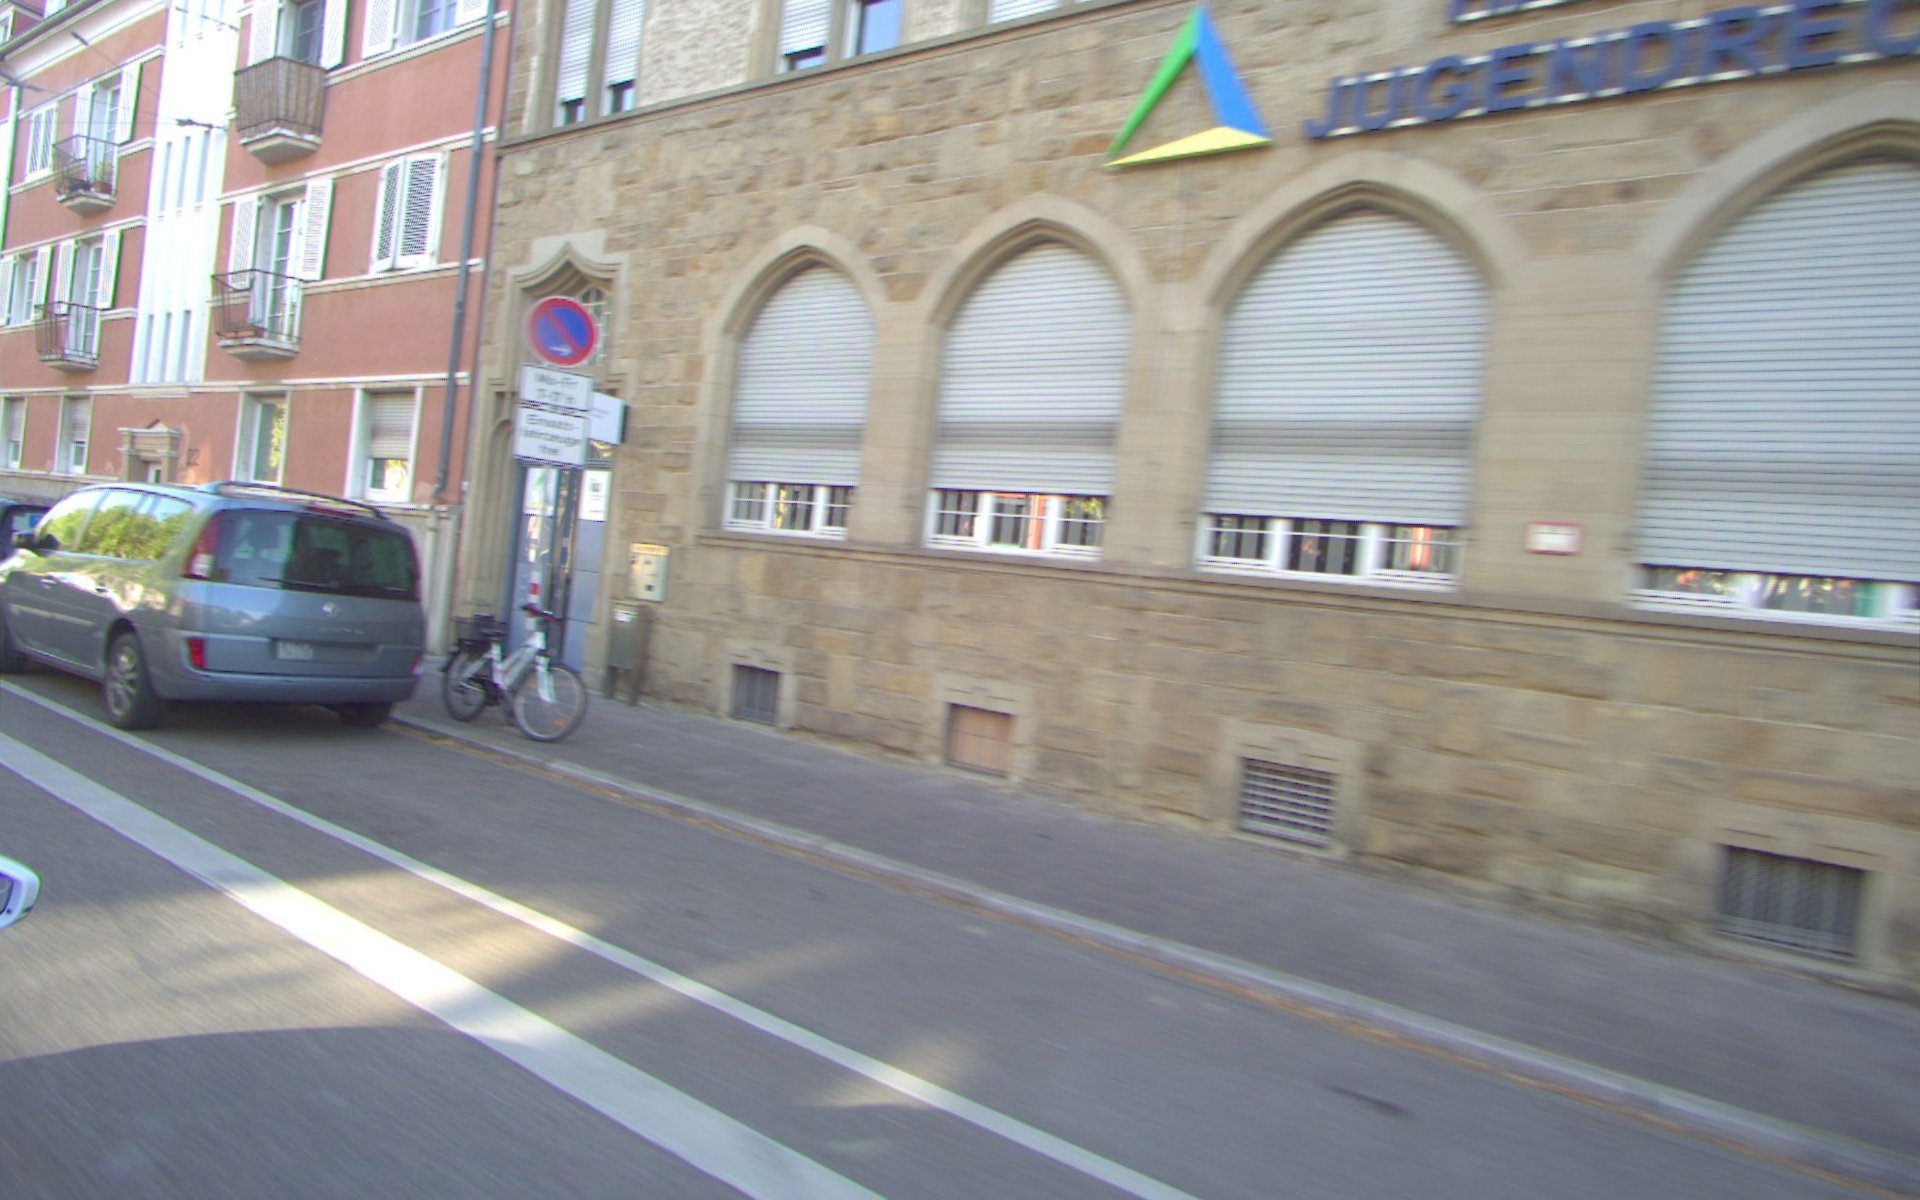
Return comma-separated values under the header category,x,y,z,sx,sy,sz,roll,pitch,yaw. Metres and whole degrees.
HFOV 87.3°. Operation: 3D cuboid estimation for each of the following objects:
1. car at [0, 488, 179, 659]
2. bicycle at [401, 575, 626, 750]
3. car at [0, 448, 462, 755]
category,x,y,z,sx,sy,sz,roll,pitch,yaw
car,-10.282,-0.401,10.903,3.656,1.529,1.634,7,-2,33
bicycle,-3.865,0.485,8.617,2.221,1.154,0.515,7,2,31
car,-6.442,-0.113,8.363,4.736,1.877,1.755,7,-1,32
